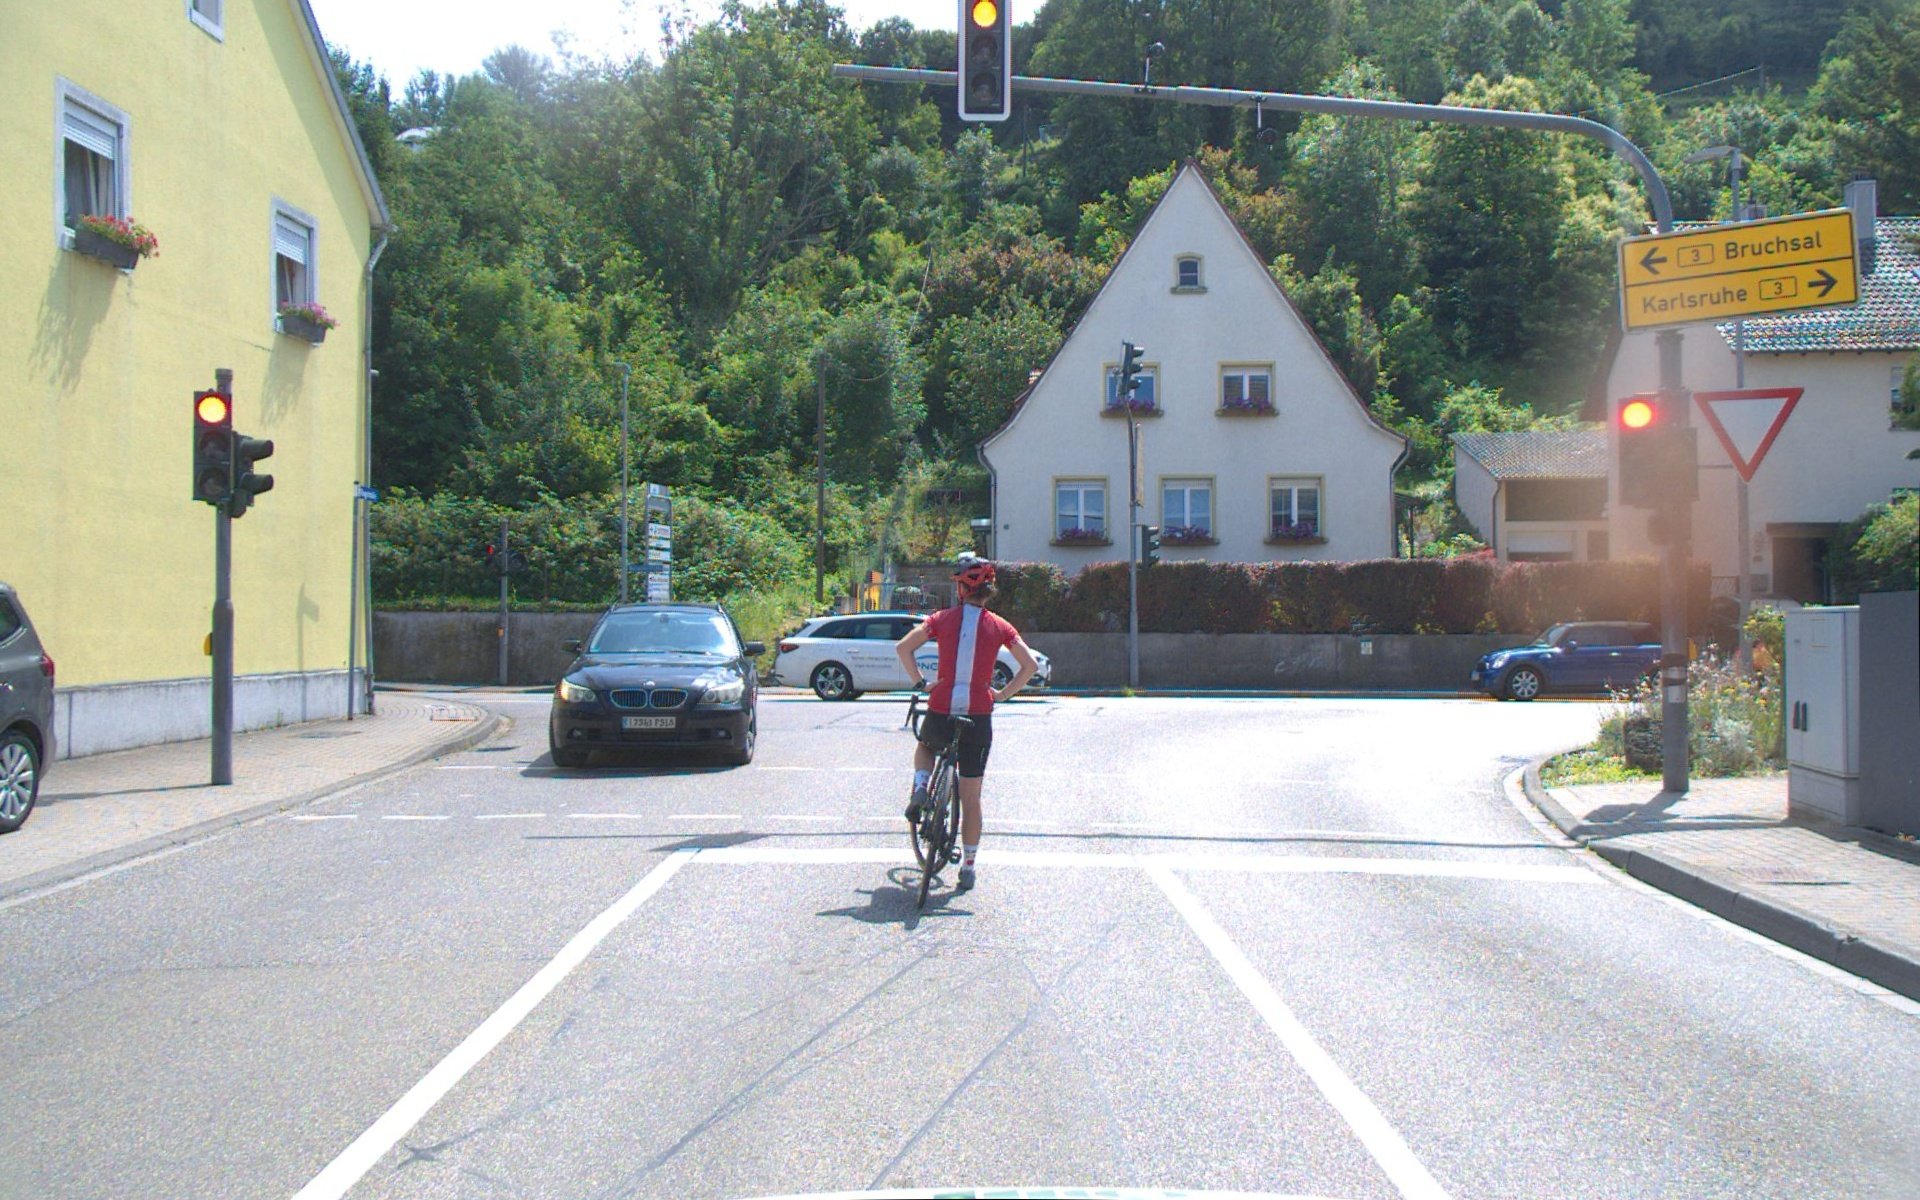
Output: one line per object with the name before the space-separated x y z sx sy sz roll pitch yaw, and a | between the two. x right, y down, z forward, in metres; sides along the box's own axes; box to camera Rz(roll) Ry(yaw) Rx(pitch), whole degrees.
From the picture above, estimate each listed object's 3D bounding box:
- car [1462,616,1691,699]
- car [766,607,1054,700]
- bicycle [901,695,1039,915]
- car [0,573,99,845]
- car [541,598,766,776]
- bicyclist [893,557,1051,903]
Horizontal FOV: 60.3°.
car | 11.031 1.052 29.757 3.533 1.387 1.645 1 -3 3
car | -0.758 0.888 27.443 4.565 1.452 1.928 0 -2 5
bicycle | 0.017 1.002 8.519 0.617 0.920 1.656 1 0 -2
car | -6.813 0.640 8.899 1.953 1.664 4.629 2 0 -1
car | -2.884 0.744 16.443 1.828 1.467 4.664 -1 0 -6
bicyclist | 0.041 0.646 8.598 0.745 1.693 0.868 1 0 -3
